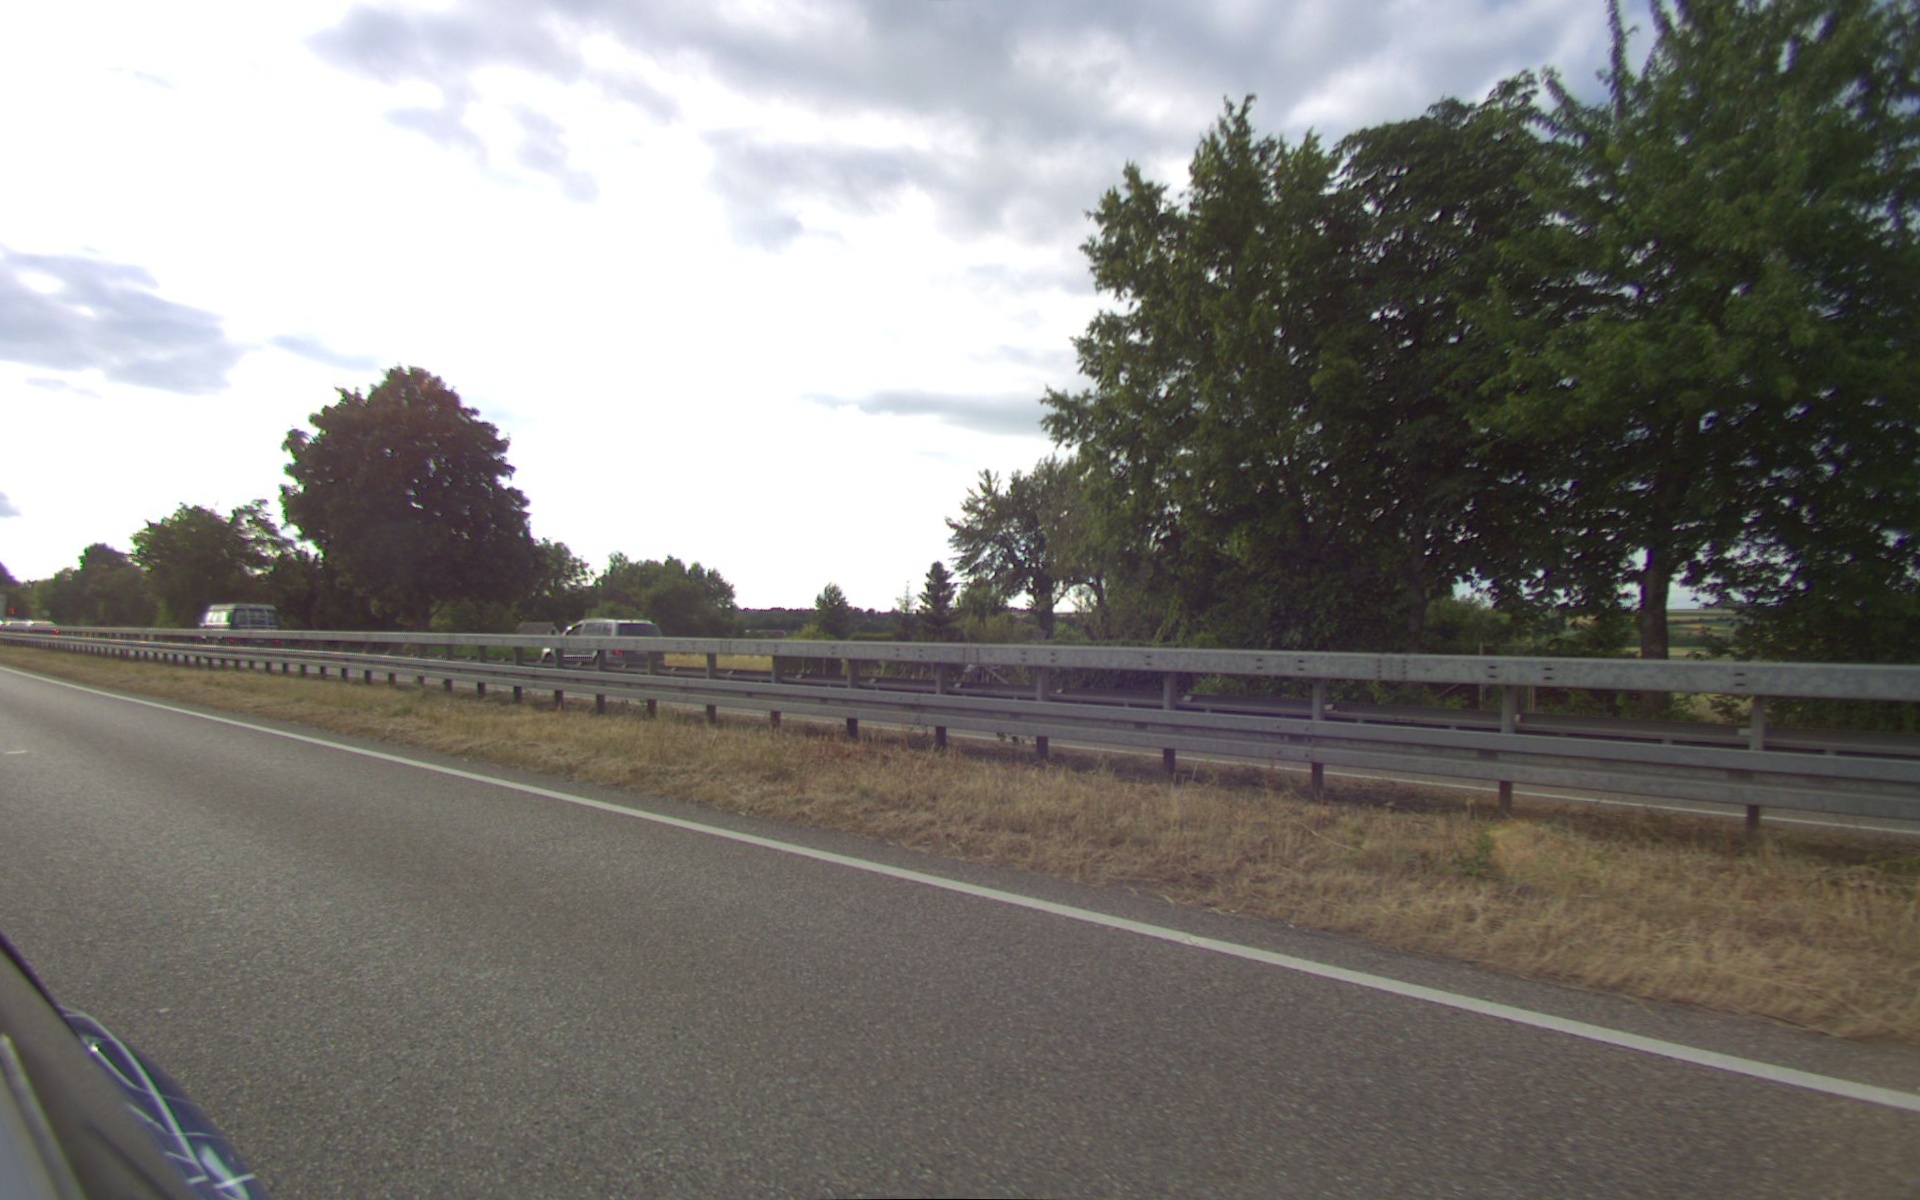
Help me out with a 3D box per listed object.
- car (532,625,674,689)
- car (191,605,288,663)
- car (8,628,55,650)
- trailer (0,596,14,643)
[{"bbox_3d":[-9.994,1.541,28.156,4.482,1.638,1.778,-1,-3,42],"label":"car"},{"bbox_3d":[-28.471,1.349,39.934,5.317,2.157,1.972,-1,-3,42],"label":"car"},{"bbox_3d":[-65.064,2.717,70.894,4.932,1.489,1.847,-2,-3,41],"label":"car"},{"bbox_3d":[-91.561,1.832,94.223,13.907,4.182,3.429,-1,-4,41],"label":"trailer"}]
